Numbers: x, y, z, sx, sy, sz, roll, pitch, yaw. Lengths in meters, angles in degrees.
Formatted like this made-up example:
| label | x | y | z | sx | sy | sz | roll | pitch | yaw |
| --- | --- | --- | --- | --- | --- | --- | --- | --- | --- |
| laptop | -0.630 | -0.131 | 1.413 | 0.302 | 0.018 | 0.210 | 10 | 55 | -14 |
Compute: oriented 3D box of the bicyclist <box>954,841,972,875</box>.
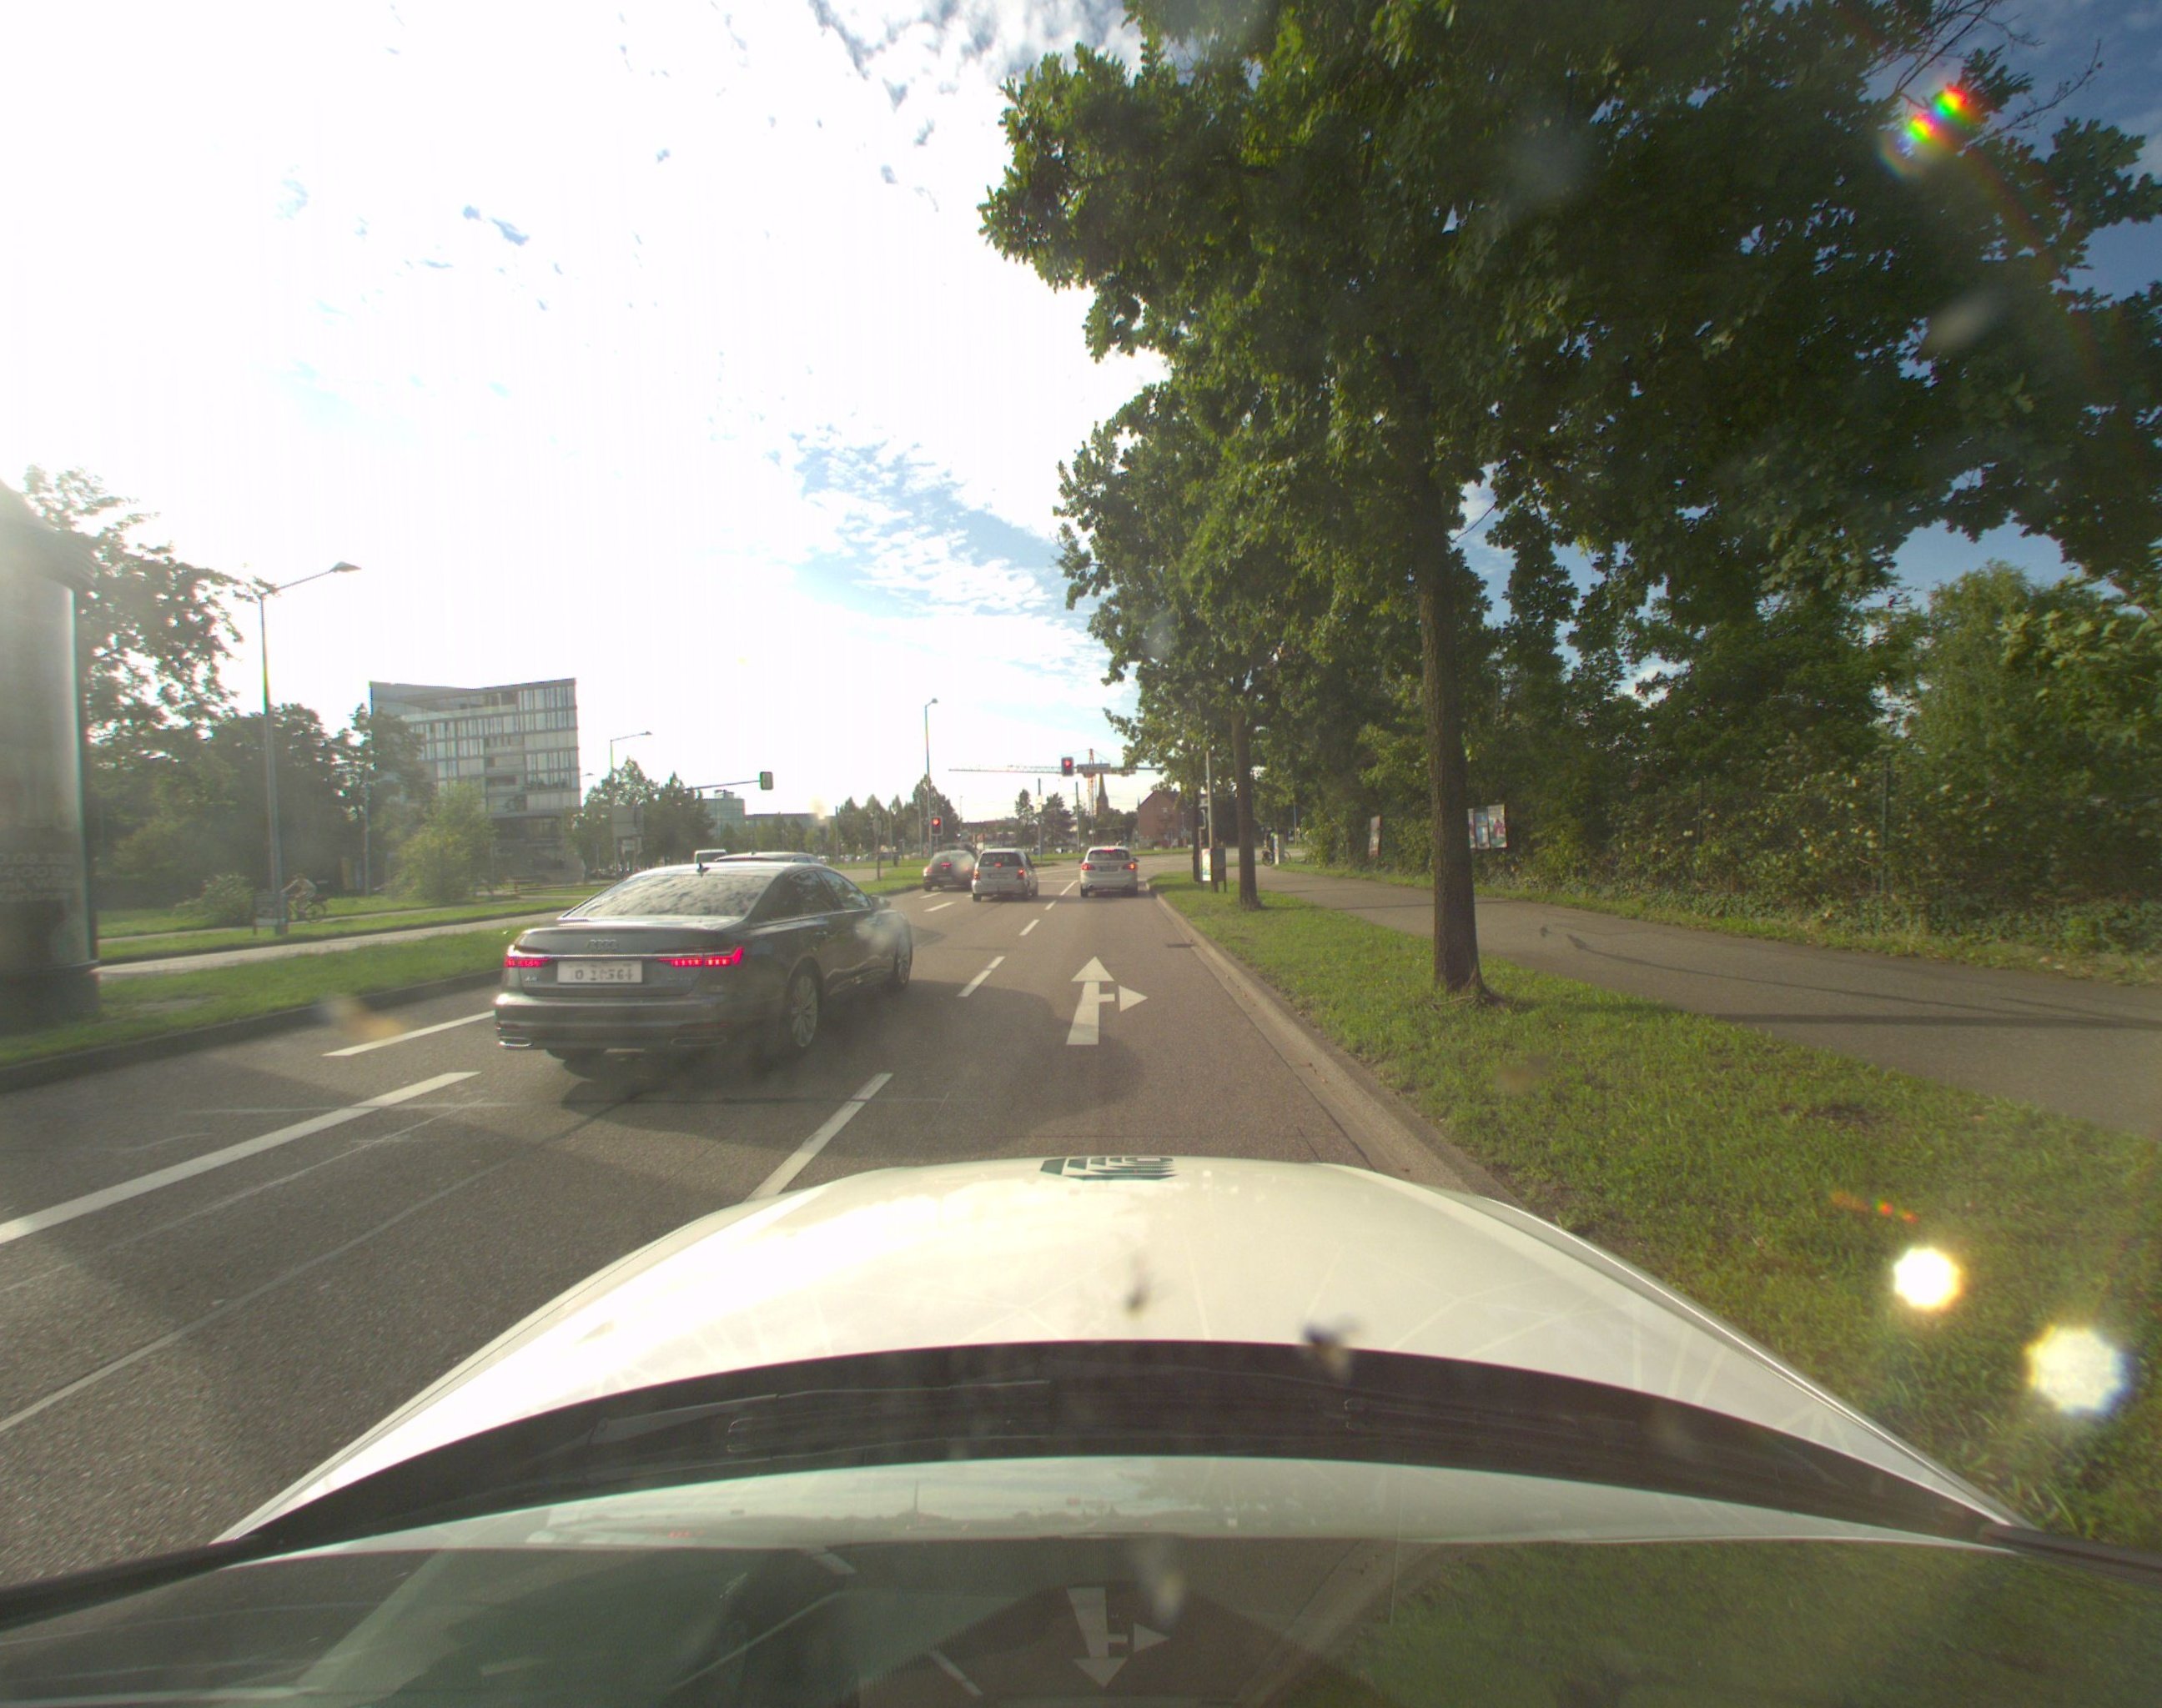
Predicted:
| label | x | y | z | sx | sy | sz | roll | pitch | yaw |
| --- | --- | --- | --- | --- | --- | --- | --- | --- | --- |
| bicyclist | -6.058 | 0.211 | 41.967 | 0.786 | 1.668 | 0.549 | -3 | 0 | -3 |

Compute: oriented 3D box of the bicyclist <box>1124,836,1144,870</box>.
| label | x | y | z | sx | sy | sz | roll | pitch | yaw |
| --- | --- | --- | --- | --- | --- | --- | --- | --- | --- |
| bicyclist | 2.656 | -0.050 | 40.795 | 0.830 | 1.647 | 0.683 | -2 | -1 | -11 |

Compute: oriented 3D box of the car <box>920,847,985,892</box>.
| label | x | y | z | sx | sy | sz | roll | pitch | yaw |
| --- | --- | --- | --- | --- | --- | --- | --- | --- | --- |
| car | -4.862 | 0.555 | 31.251 | 1.714 | 1.564 | 3.880 | -1 | 1 | 2 |

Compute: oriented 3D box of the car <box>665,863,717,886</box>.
| label | x | y | z | sx | sy | sz | roll | pitch | yaw |
| --- | --- | --- | --- | --- | --- | --- | --- | --- | --- |
| car | -30.003 | 1.552 | 62.731 | 3.187 | 1.574 | 1.570 | -4 | -1 | -9 |

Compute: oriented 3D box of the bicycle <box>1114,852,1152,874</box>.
| label | x | y | z | sx | sy | sz | roll | pitch | yaw |
| --- | --- | --- | --- | --- | --- | --- | --- | --- | --- |
| bicycle | 2.619 | 0.440 | 40.786 | 1.771 | 1.050 | 0.708 | -2 | 0 | -11 |

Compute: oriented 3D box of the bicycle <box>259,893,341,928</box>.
| label | x | y | z | sx | sy | sz | roll | pitch | yaw |
| --- | --- | --- | --- | --- | --- | --- | --- | --- | --- |
| bicycle | -26.761 | 1.921 | 27.947 | 0.891 | 0.981 | 1.912 | -3 | 1 | 1 |

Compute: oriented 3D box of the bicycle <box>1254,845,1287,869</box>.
| label | x | y | z | sx | sy | sz | roll | pitch | yaw |
| --- | --- | --- | --- | --- | --- | --- | --- | --- | --- |
| bicycle | 9.943 | 0.167 | 42.742 | 1.614 | 1.217 | 0.491 | -2 | 0 | 0 |

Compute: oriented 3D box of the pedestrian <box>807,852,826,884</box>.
| label | x | y | z | sx | sy | sz | roll | pitch | yaw |
| --- | --- | --- | --- | --- | --- | --- | --- | --- | --- |
| pedestrian | -13.352 | 0.690 | 41.121 | 0.653 | 1.569 | 0.615 | -3 | 0 | -2 |

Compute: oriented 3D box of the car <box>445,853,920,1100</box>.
| label | x | y | z | sx | sy | sz | roll | pitch | yaw |
| --- | --- | --- | --- | --- | --- | --- | --- | --- | --- |
| car | -2.923 | 0.754 | 7.346 | 1.883 | 1.483 | 4.614 | -1 | 0 | 1 |

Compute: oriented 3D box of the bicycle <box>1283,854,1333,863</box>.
| label | x | y | z | sx | sy | sz | roll | pitch | yaw |
| --- | --- | --- | --- | --- | --- | --- | --- | --- | --- |
| bicycle | 11.019 | 0.213 | 39.711 | 1.407 | 0.385 | 2.568 | -3 | 0 | -10 |

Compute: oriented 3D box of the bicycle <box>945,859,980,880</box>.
| label | x | y | z | sx | sy | sz | roll | pitch | yaw |
| --- | --- | --- | --- | --- | --- | --- | --- | --- | --- |
| bicycle | -6.114 | 0.788 | 41.967 | 1.671 | 0.967 | 0.643 | -3 | 0 | -4 |

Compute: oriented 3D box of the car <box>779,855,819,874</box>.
| label | x | y | z | sx | sy | sz | roll | pitch | yaw |
| --- | --- | --- | --- | --- | --- | --- | --- | --- | --- |
| car | -33.633 | 1.219 | 97.263 | 1.804 | 2.013 | 4.263 | -4 | -1 | 29 |

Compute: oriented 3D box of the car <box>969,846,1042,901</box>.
| label | x | y | z | sx | sy | sz | roll | pitch | yaw |
| --- | --- | --- | --- | --- | --- | --- | --- | --- | --- |
| car | -2.282 | 0.553 | 25.540 | 1.723 | 1.558 | 4.060 | -1 | 1 | 2 |

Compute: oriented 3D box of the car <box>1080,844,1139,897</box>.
| label | x | y | z | sx | sy | sz | roll | pitch | yaw |
| --- | --- | --- | --- | --- | --- | --- | --- | --- | --- |
| car | 0.913 | 0.471 | 26.569 | 1.723 | 1.558 | 4.059 | -1 | 1 | 1 |

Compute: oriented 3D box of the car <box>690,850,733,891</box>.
| label | x | y | z | sx | sy | sz | roll | pitch | yaw |
| --- | --- | --- | --- | --- | --- | --- | --- | --- | --- |
| car | -22.779 | 1.019 | 50.391 | 2.001 | 2.235 | 5.881 | -4 | 1 | -21 |

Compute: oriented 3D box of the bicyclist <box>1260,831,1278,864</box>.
| label | x | y | z | sx | sy | sz | roll | pitch | yaw |
| --- | --- | --- | --- | --- | --- | --- | --- | --- | --- |
| bicyclist | 9.877 | -0.350 | 42.718 | 0.765 | 1.647 | 0.535 | -3 | 1 | 1 |

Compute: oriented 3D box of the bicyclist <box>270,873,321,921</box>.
| label | x | y | z | sx | sy | sz | roll | pitch | yaw |
| --- | --- | --- | --- | --- | --- | --- | --- | --- | --- |
| bicyclist | -26.806 | 1.456 | 27.805 | 0.702 | 1.525 | 0.990 | -3 | 0 | 1 |

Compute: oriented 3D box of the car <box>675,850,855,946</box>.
| label | x | y | z | sx | sy | sz | roll | pitch | yaw |
| --- | --- | --- | --- | --- | --- | --- | --- | --- | --- |
| car | -5.834 | 0.722 | 15.606 | 1.723 | 1.558 | 4.021 | -1 | 0 | 2 |
